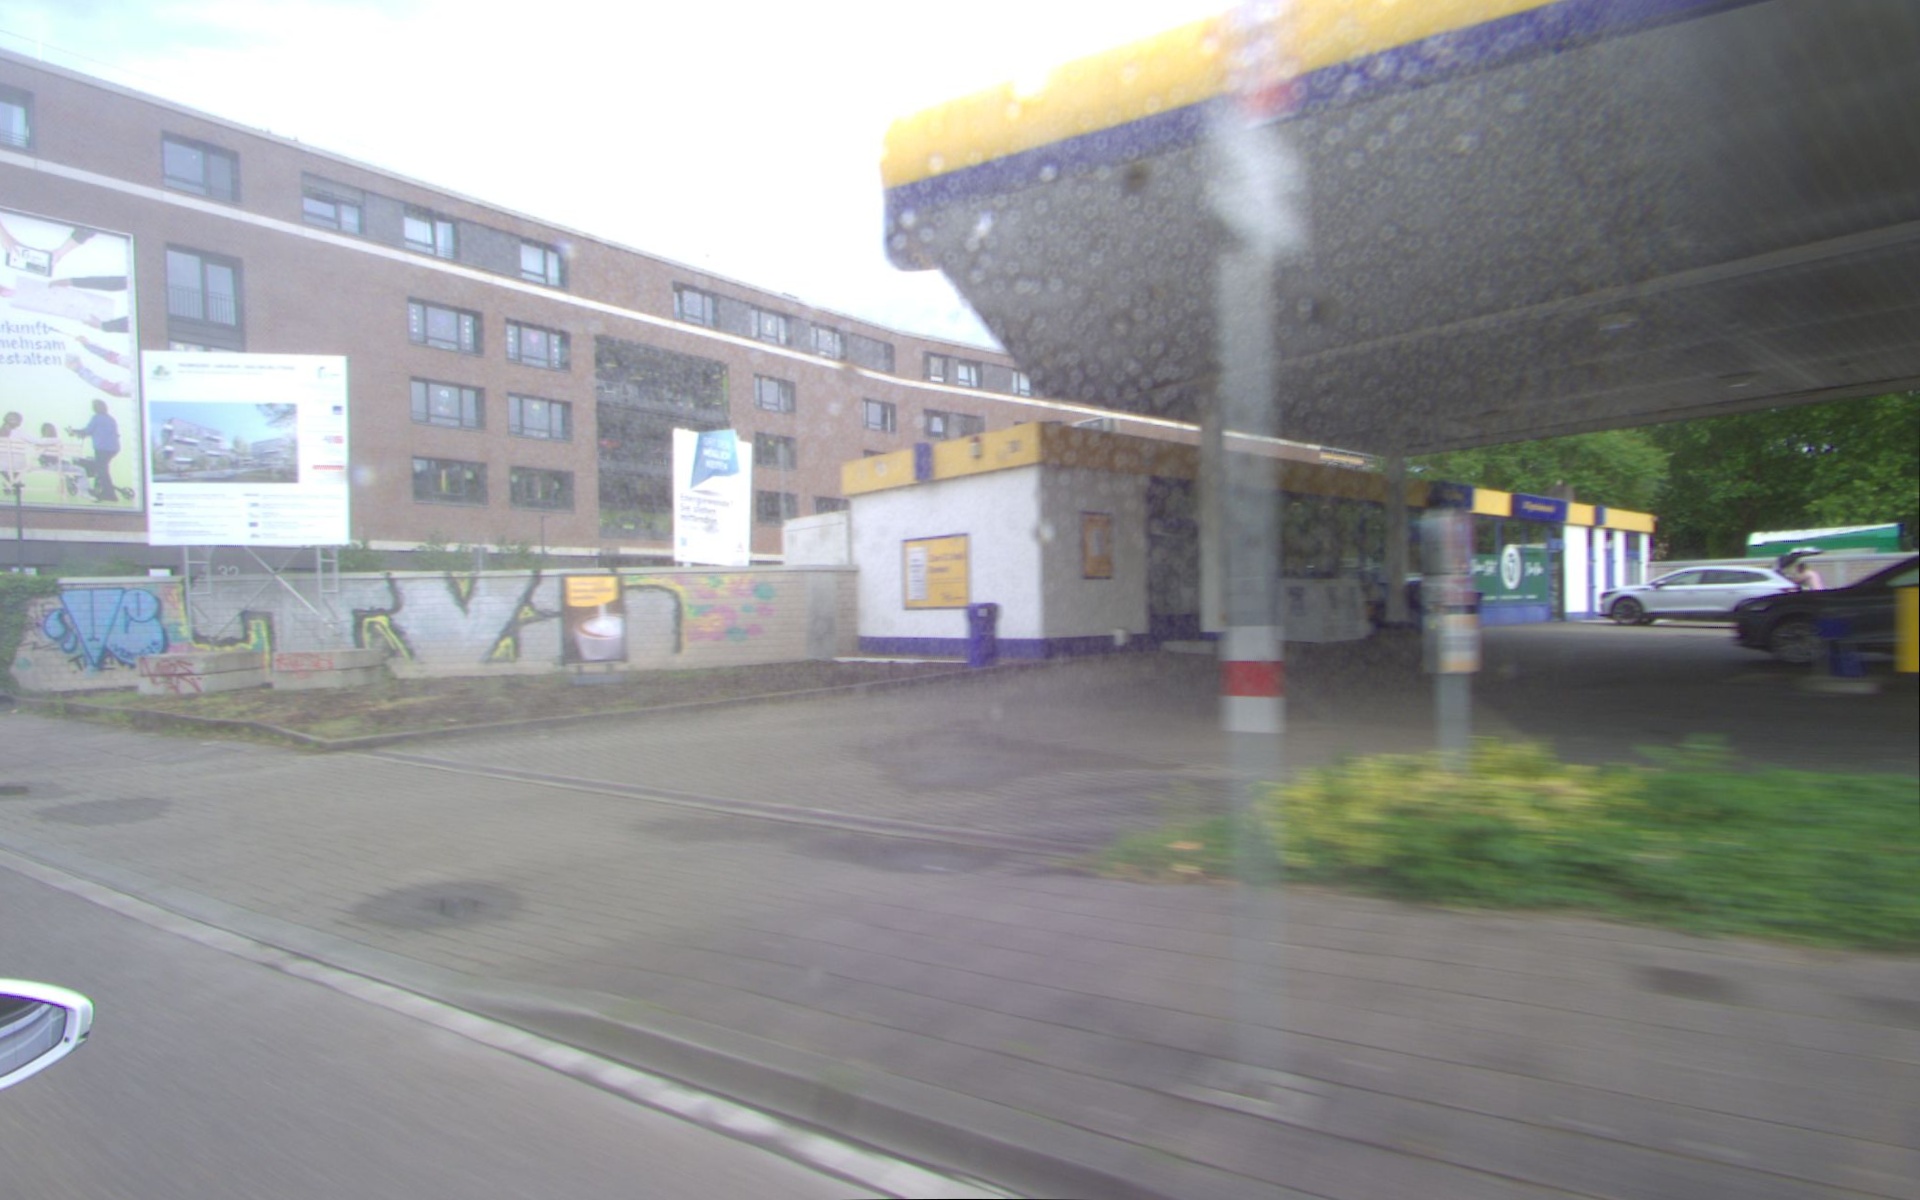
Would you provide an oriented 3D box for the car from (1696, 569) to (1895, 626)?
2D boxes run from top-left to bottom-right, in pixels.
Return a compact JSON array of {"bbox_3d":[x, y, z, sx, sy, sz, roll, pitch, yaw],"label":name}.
[{"bbox_3d":[25.444,-0.110,30.609,1.937,1.608,4.387,0,1,-40],"label":"car"}]

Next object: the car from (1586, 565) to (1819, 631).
[{"bbox_3d":[19.818,-0.094,26.922,1.920,1.617,4.718,-1,2,-41],"label":"car"}]

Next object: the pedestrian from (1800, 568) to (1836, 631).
[{"bbox_3d":[21.410,-0.022,24.989,0.493,1.565,0.546,-1,2,-36],"label":"pedestrian"}]

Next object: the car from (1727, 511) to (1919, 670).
[{"bbox_3d":[12.924,-0.152,13.151,1.803,2.014,4.220,-3,1,-39],"label":"car"}]
